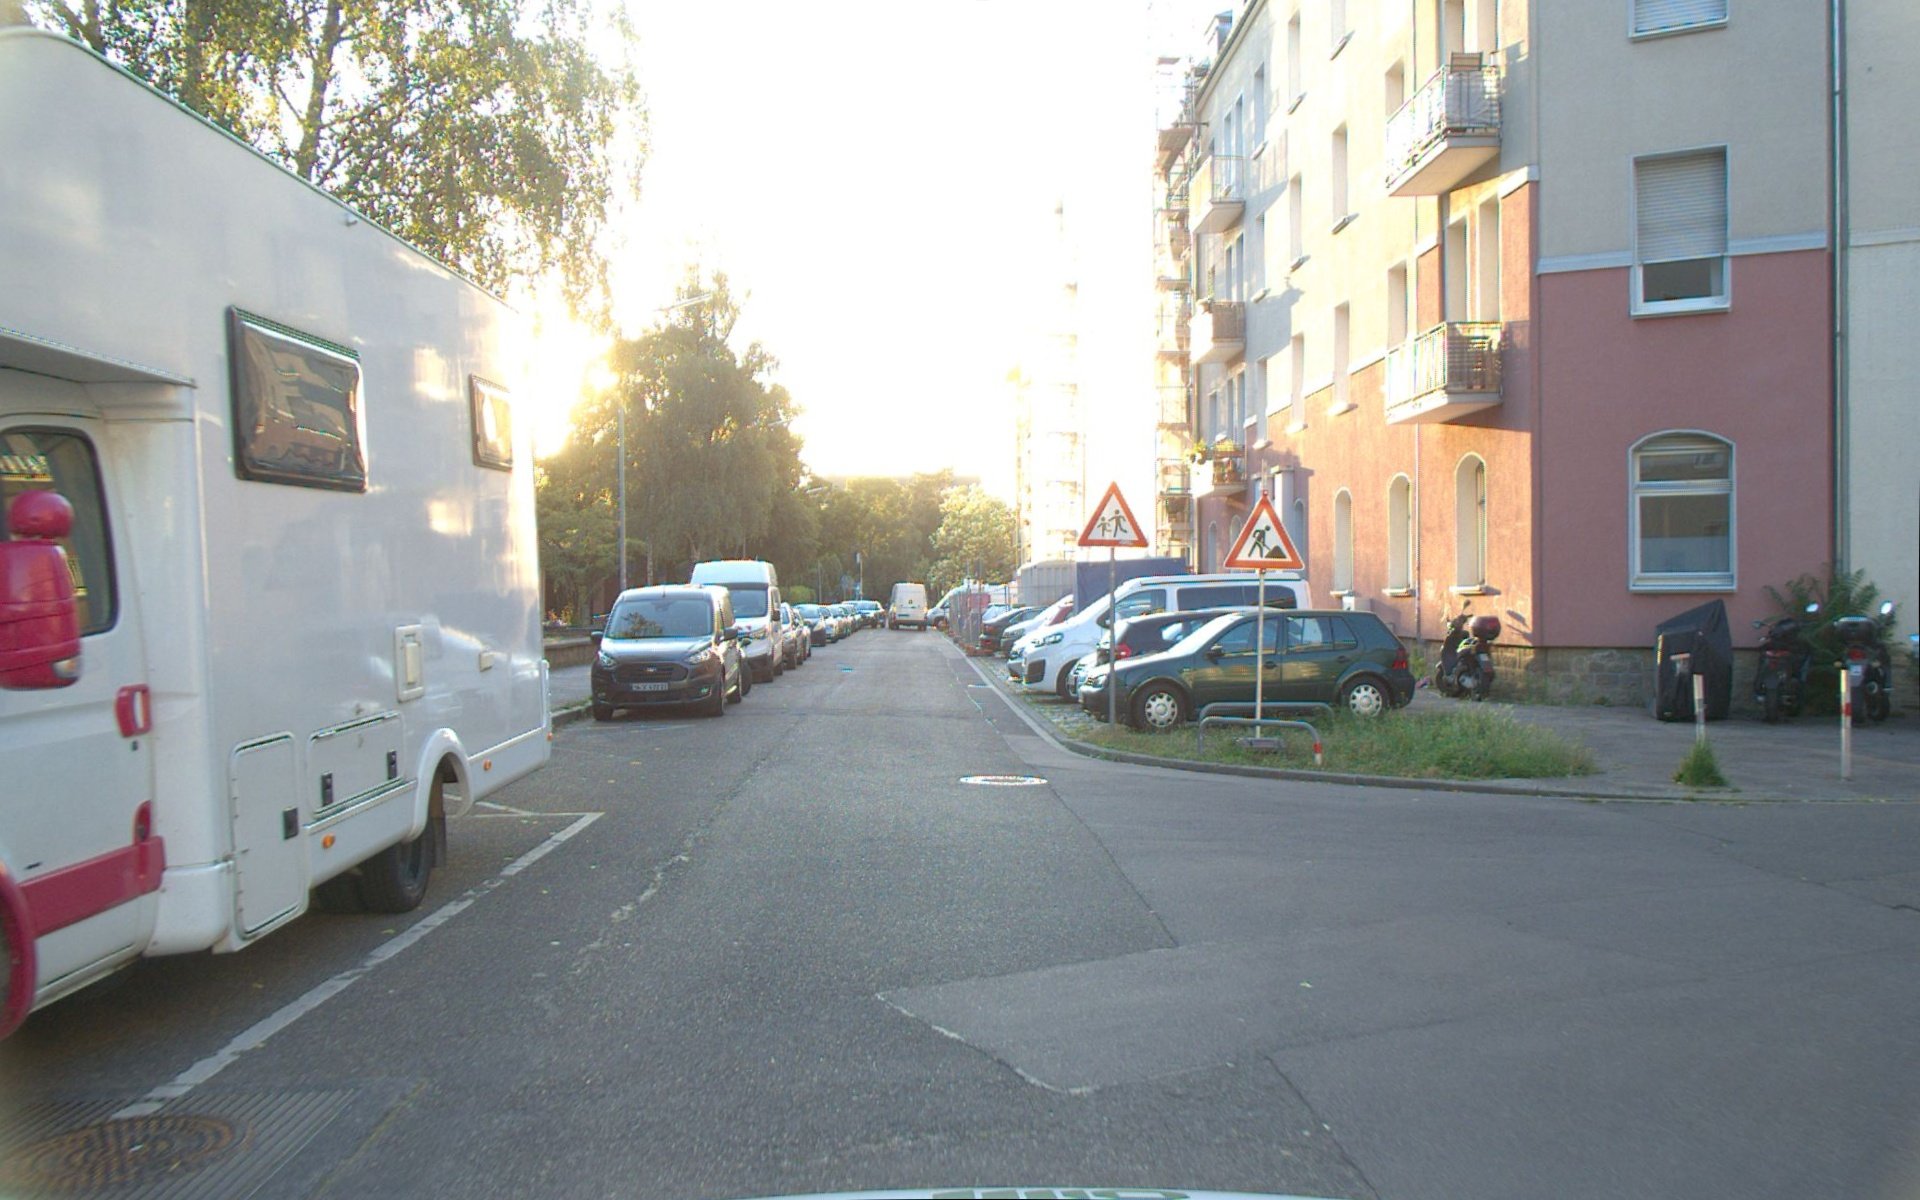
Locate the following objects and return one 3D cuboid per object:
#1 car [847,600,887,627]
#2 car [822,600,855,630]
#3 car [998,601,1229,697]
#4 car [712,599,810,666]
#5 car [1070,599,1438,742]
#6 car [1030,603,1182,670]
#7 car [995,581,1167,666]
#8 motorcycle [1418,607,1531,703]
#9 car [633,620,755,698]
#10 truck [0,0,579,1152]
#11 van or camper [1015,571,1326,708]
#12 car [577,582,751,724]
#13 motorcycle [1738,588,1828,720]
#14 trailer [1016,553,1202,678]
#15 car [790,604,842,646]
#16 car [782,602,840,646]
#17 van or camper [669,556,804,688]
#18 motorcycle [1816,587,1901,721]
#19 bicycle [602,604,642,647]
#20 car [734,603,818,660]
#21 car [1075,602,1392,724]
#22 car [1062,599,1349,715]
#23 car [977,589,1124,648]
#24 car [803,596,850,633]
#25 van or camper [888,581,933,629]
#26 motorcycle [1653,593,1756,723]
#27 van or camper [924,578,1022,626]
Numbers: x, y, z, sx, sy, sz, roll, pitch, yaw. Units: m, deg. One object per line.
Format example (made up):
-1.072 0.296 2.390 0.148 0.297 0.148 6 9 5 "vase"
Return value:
-5.622 0.790 100.382 1.766 1.597 4.568 -1 0 5 "car"
-6.147 0.746 84.005 1.569 1.456 3.801 -3 0 -3 "car"
2.722 0.858 29.947 3.908 1.669 1.998 0 -1 -4 "car"
-4.823 0.750 40.673 1.953 1.545 4.787 0 0 -1 "car"
3.444 0.797 19.861 4.022 1.613 1.853 0 0 -5 "car"
3.663 0.894 41.887 3.619 1.638 1.744 0 0 -4 "car"
3.199 0.590 44.101 4.188 2.014 1.818 -3 1 -10 "car"
7.269 0.740 23.516 0.727 1.257 2.652 0 0 -2 "motorcycle"
-4.598 0.992 29.073 1.956 1.210 4.030 0 0 -7 "car"
-3.721 -0.282 6.605 2.474 3.412 8.016 -3 0 -1 "truck"
3.340 0.609 26.863 4.737 2.133 2.039 0 0 -3 "van or camper"
-4.188 0.677 24.134 1.872 1.819 4.946 -1 0 -3 "car"
9.698 0.593 19.446 0.729 1.459 2.347 0 0 32 "motorcycle"
3.045 0.303 34.414 3.498 2.377 1.939 -2 0 -5 "trailer"
-5.528 0.938 64.022 1.747 1.471 4.746 -3 0 -2 "car"
-5.281 0.842 58.762 1.954 1.478 3.996 0 0 -5 "car"
-4.518 0.410 34.386 1.952 2.500 6.083 0 0 0 "van or camper"
10.522 0.579 19.322 0.729 1.459 2.646 0 0 32 "motorcycle"
-8.065 0.589 39.506 0.532 0.981 1.955 1 0 0 "bicycle"
-5.109 0.845 46.414 1.953 1.478 4.287 0 0 -2 "car"
3.641 0.813 22.517 3.908 1.557 1.998 0 0 -4 "car"
3.590 0.812 24.668 3.908 1.646 1.998 0 0 -4 "car"
2.540 0.524 47.209 4.068 1.644 1.871 0 0 -1 "car"
-5.859 0.625 72.965 1.822 1.565 4.756 -1 0 -2 "car"
-2.862 0.284 95.811 2.404 2.591 6.081 2 0 -2 "van or camper"
8.947 0.652 19.828 0.821 1.459 2.347 0 0 32 "motorcycle"
0.762 0.123 101.144 5.810 2.818 2.108 1 0 -3 "van or camper"
